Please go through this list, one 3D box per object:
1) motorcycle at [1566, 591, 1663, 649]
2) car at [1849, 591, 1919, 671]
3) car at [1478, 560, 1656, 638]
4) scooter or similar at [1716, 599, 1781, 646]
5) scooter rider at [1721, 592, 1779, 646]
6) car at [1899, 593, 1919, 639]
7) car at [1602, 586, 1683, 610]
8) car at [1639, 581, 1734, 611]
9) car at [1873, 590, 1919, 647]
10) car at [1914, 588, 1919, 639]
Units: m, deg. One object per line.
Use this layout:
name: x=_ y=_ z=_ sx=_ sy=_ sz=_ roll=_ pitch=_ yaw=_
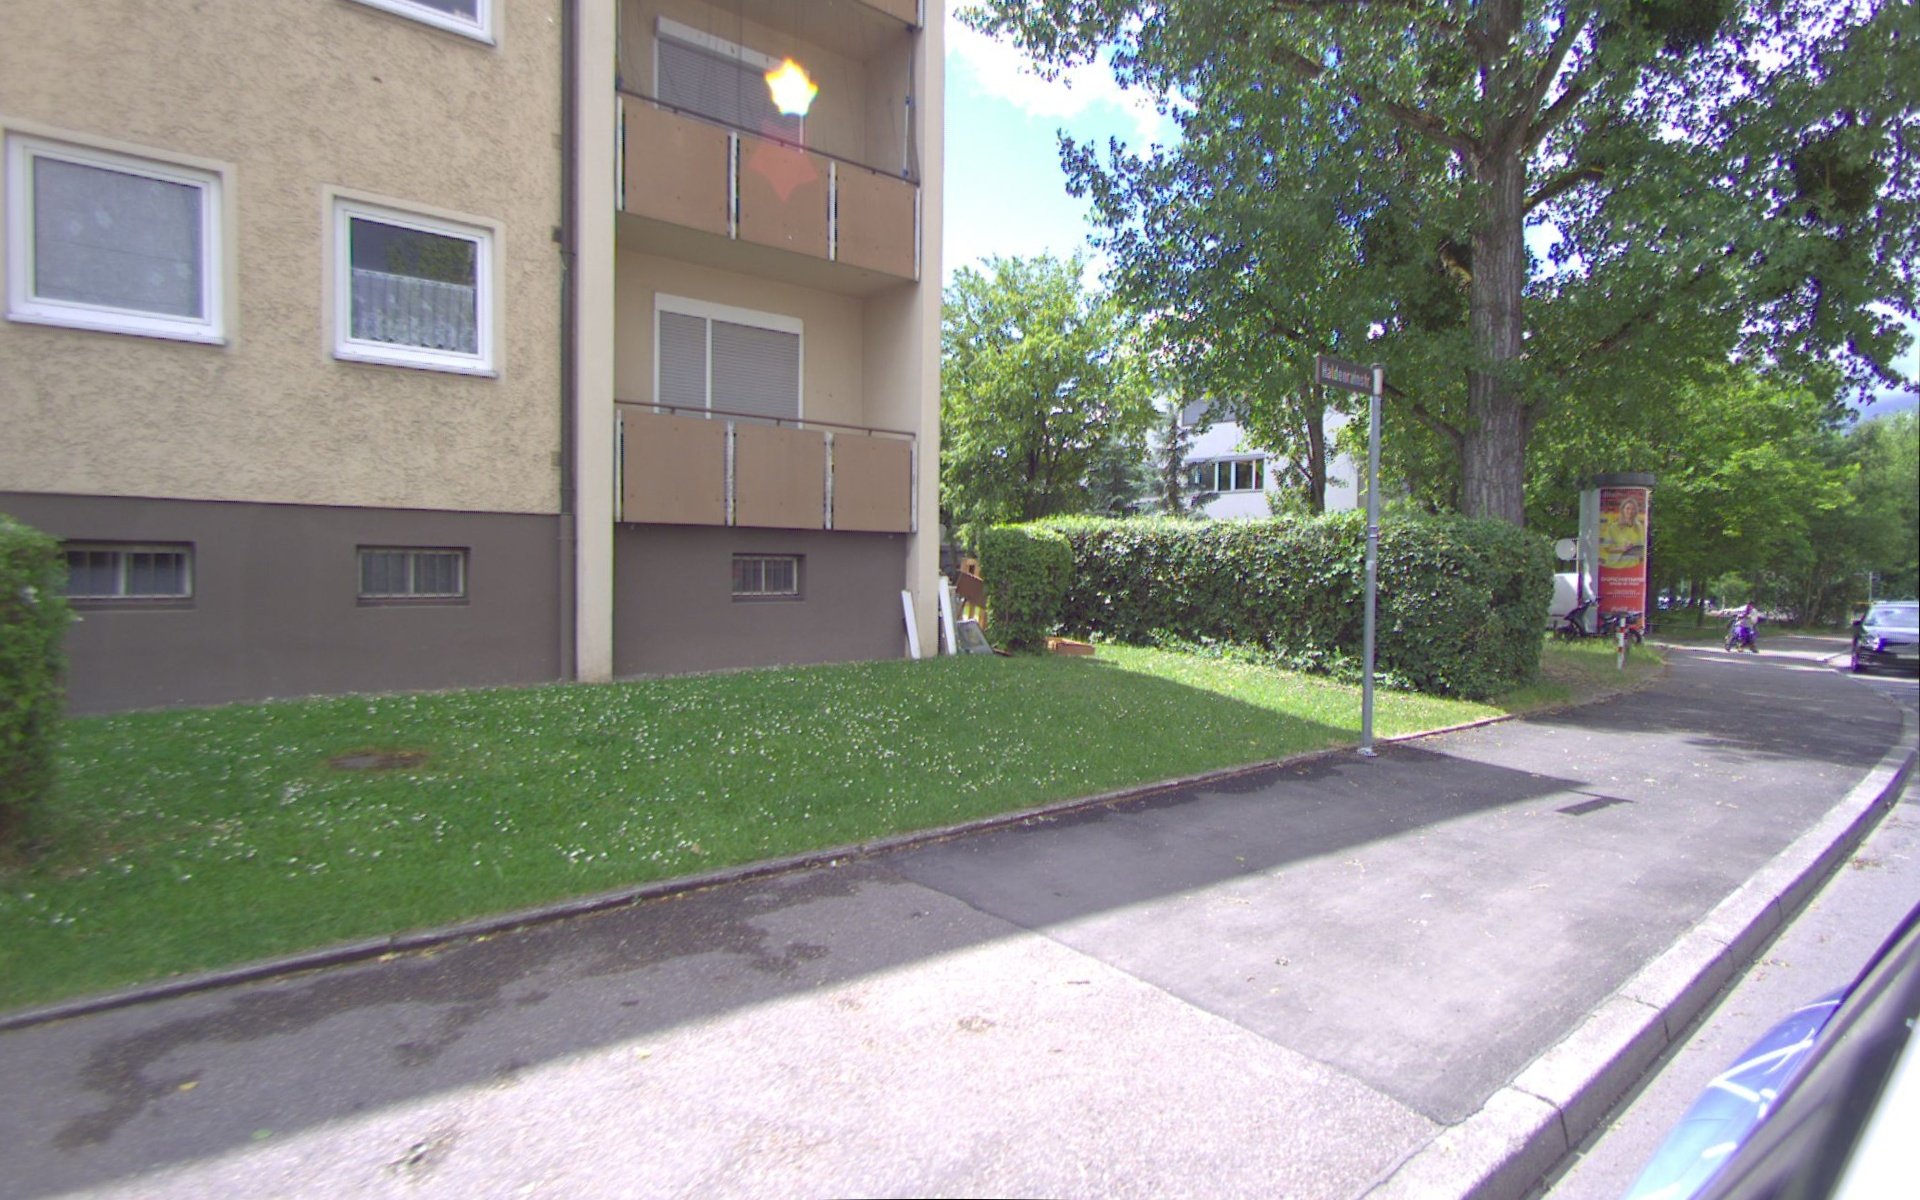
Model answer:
motorcycle: x=15.267 y=0.441 z=23.650 sx=1.785 sy=1.225 sz=0.705 roll=4 pitch=2 yaw=29
car: x=19.561 y=0.633 z=20.595 sx=3.762 sy=1.466 sz=1.818 roll=1 pitch=2 yaw=-44
car: x=16.488 y=-0.072 z=27.748 sx=3.963 sy=1.845 sz=1.793 roll=4 pitch=2 yaw=28
scooter or similar: x=19.459 y=0.552 z=24.954 sx=2.077 sy=1.077 sz=0.891 roll=2 pitch=2 yaw=-42
scooter rider: x=19.496 y=0.470 z=24.976 sx=1.260 sy=1.235 sz=0.886 roll=2 pitch=2 yaw=-42
car: x=32.658 y=0.571 z=33.754 sx=4.007 sy=1.476 sz=1.646 roll=1 pitch=2 yaw=-44
car: x=43.070 y=-0.139 z=63.930 sx=1.883 sy=1.239 sz=3.963 roll=-3 pitch=5 yaw=-44
car: x=46.485 y=-0.302 z=64.818 sx=1.893 sy=1.610 sz=4.646 roll=-3 pitch=5 yaw=-44
car: x=29.107 y=0.580 z=30.721 sx=4.495 sy=1.584 sz=1.785 roll=1 pitch=2 yaw=-45
car: x=35.975 y=0.554 z=36.672 sx=4.491 sy=1.784 sz=1.646 roll=1 pitch=2 yaw=-42
